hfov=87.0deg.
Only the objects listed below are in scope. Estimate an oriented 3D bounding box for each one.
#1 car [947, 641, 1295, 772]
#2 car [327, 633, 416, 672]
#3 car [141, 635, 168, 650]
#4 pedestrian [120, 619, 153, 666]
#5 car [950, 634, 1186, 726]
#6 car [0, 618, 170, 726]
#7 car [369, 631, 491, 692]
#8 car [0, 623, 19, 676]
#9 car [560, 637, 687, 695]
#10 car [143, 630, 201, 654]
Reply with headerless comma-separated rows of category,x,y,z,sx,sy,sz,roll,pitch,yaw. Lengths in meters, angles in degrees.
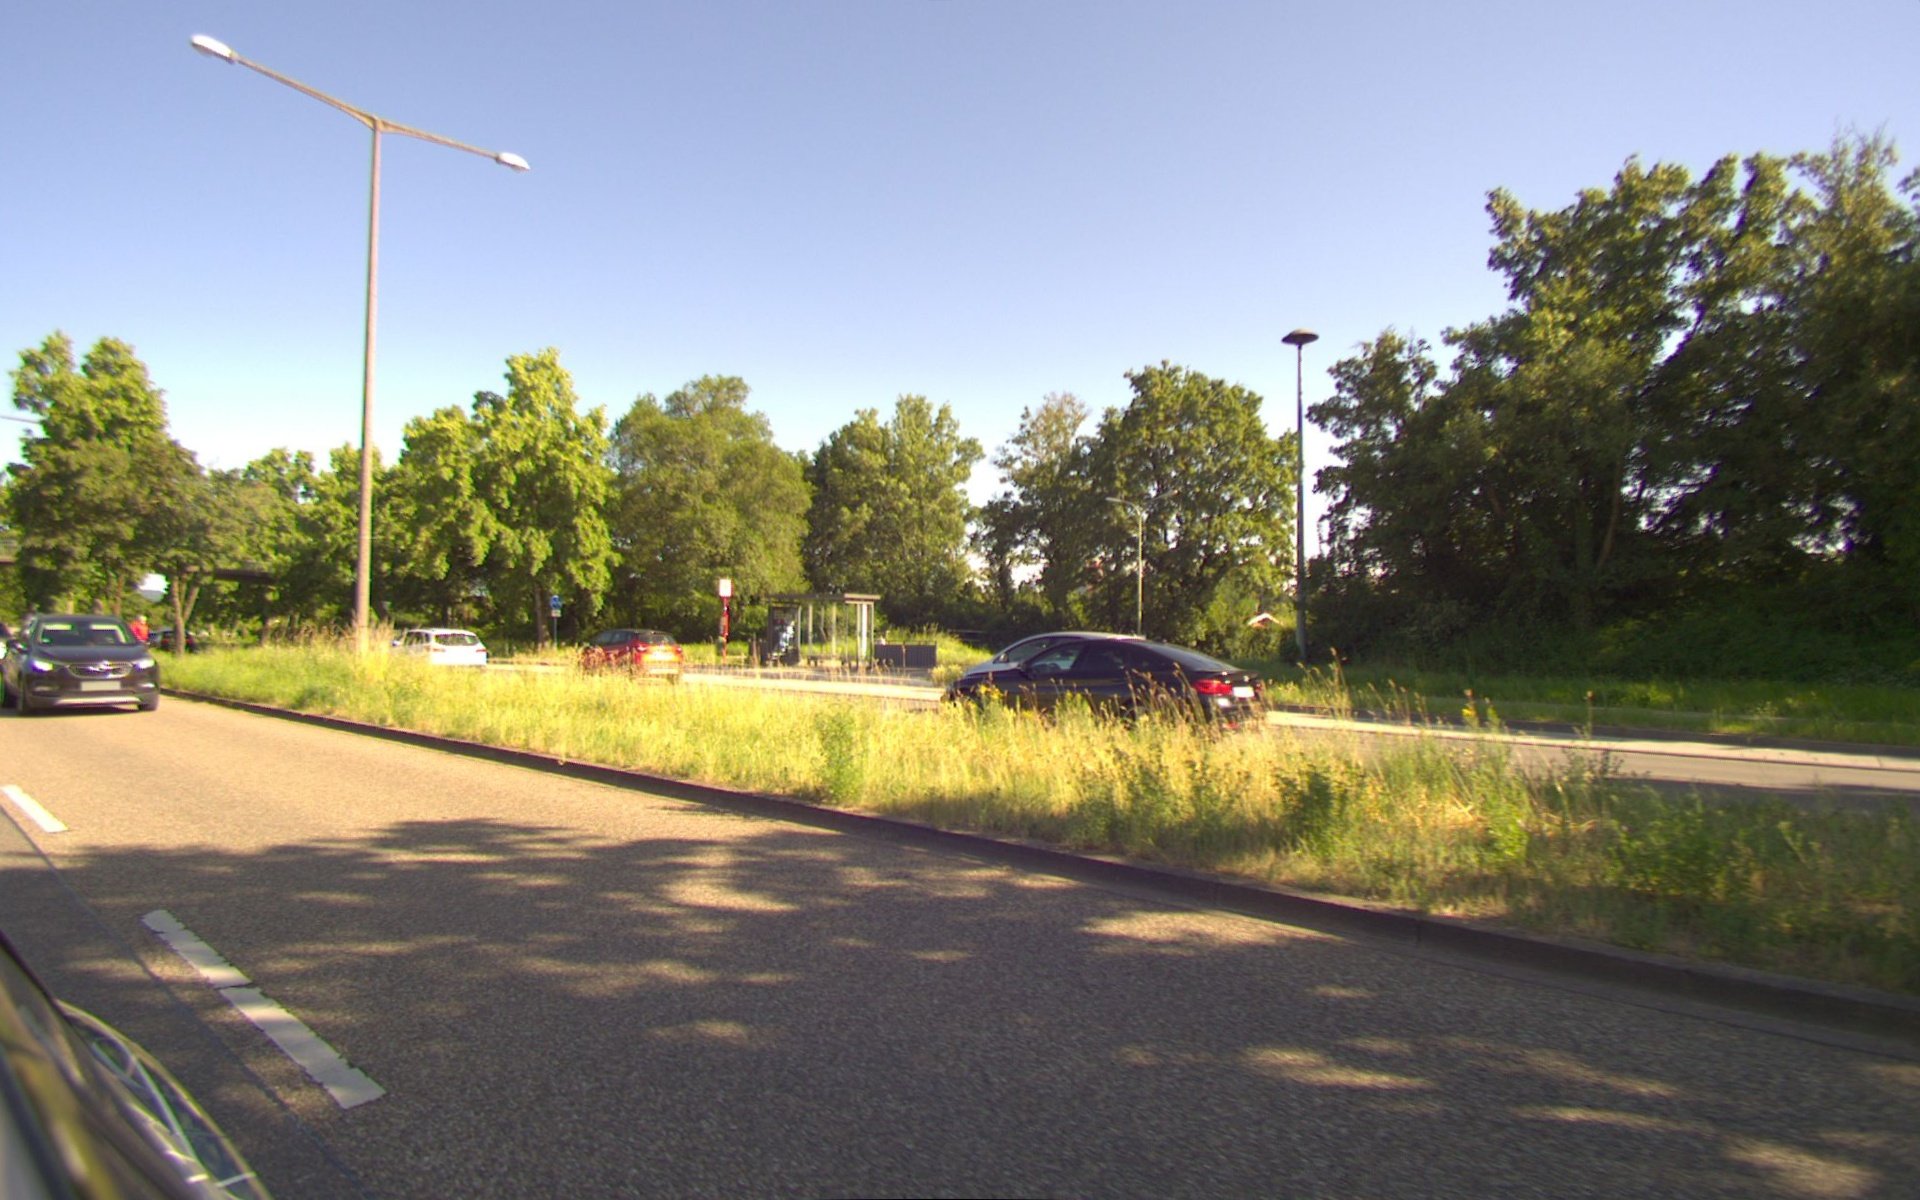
car,1.960,1.251,13.168,4.249,1.406,1.683,-2,-3,42
car,-24.611,2.161,42.266,4.593,1.512,1.786,-2,-3,41
car,-79.712,4.226,100.100,4.257,1.442,1.522,-2,-5,44
pedestrian,-30.595,1.585,37.620,0.621,1.709,0.946,1,-2,-18
car,1.888,1.383,18.437,4.063,1.483,1.694,-2,-4,42
car,-15.290,1.150,17.459,4.512,1.627,1.787,-1,-3,41
car,-15.258,1.701,29.049,4.358,1.615,1.695,-1,-3,43
car,-30.861,1.560,31.548,4.645,1.574,1.799,-3,-3,42
car,-9.778,1.883,29.270,3.997,1.575,1.588,-2,-5,40
car,-46.625,2.458,59.847,4.976,1.371,1.763,-1,-3,41
